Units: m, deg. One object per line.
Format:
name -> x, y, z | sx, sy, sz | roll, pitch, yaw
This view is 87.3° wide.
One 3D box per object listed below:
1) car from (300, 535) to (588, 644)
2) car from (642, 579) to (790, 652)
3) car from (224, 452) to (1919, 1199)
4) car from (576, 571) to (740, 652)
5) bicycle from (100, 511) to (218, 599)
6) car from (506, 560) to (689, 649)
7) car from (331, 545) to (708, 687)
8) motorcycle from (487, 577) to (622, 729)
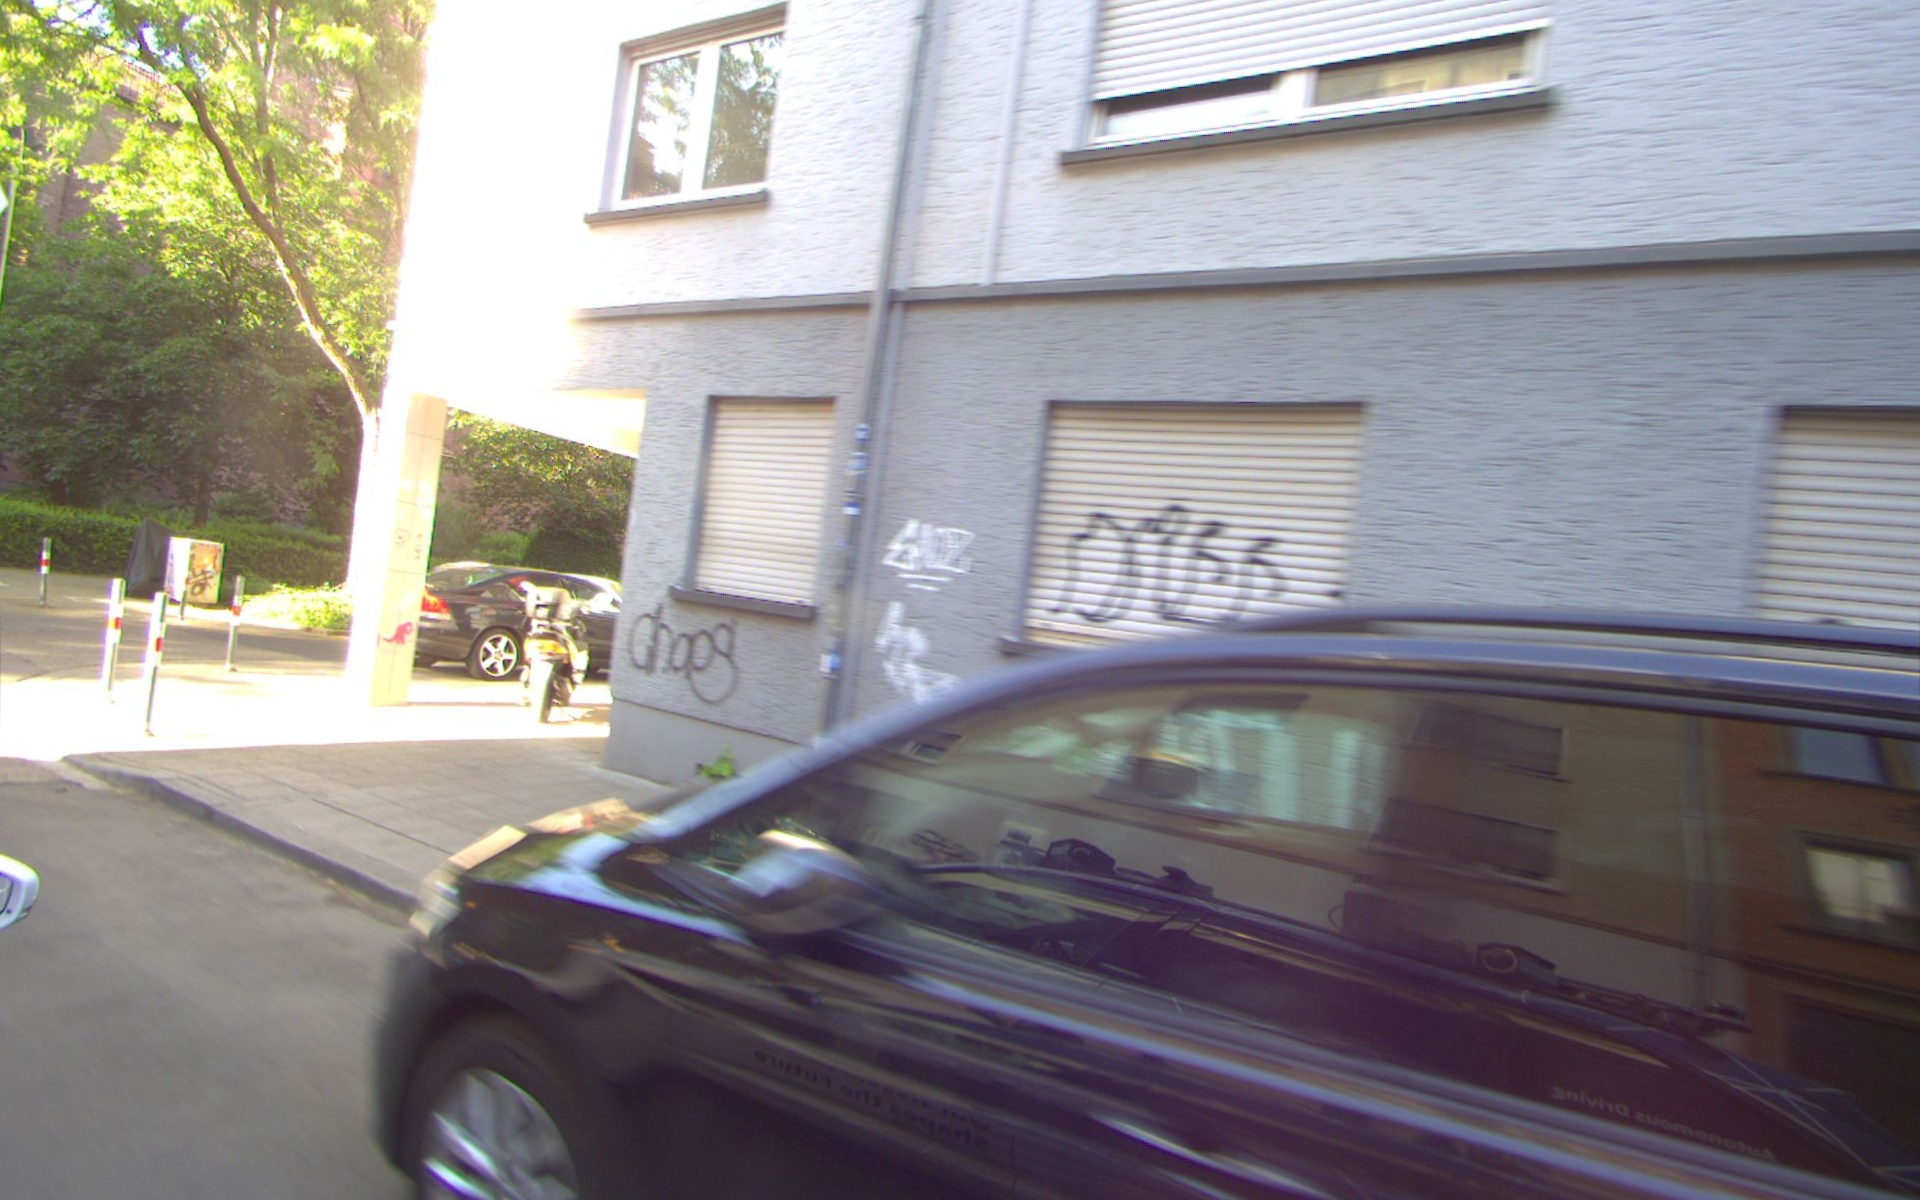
car -> -10.823, -0.184, 21.394 | 5.010, 1.570, 1.803 | 8, -1, -3
car -> -7.152, 0.473, 29.641 | 3.698, 1.637, 1.723 | 8, -1, 12
car -> 0.835, 0.809, 1.892 | 4.316, 1.659, 1.904 | 7, -1, 30
car -> -8.095, 0.332, 27.123 | 3.698, 1.637, 1.723 | 8, -1, 12
bicycle -> -14.235, -0.774, 17.966 | 0.765, 1.387, 2.117 | 7, 0, -16
car -> -8.818, 0.129, 24.600 | 3.698, 1.637, 1.723 | 8, -1, 12
car -> -5.692, 0.322, 13.614 | 1.818, 1.404, 4.358 | 7, -2, 29
motorcycle -> -3.839, 0.484, 9.718 | 0.731, 1.242, 2.154 | 5, -2, -12
